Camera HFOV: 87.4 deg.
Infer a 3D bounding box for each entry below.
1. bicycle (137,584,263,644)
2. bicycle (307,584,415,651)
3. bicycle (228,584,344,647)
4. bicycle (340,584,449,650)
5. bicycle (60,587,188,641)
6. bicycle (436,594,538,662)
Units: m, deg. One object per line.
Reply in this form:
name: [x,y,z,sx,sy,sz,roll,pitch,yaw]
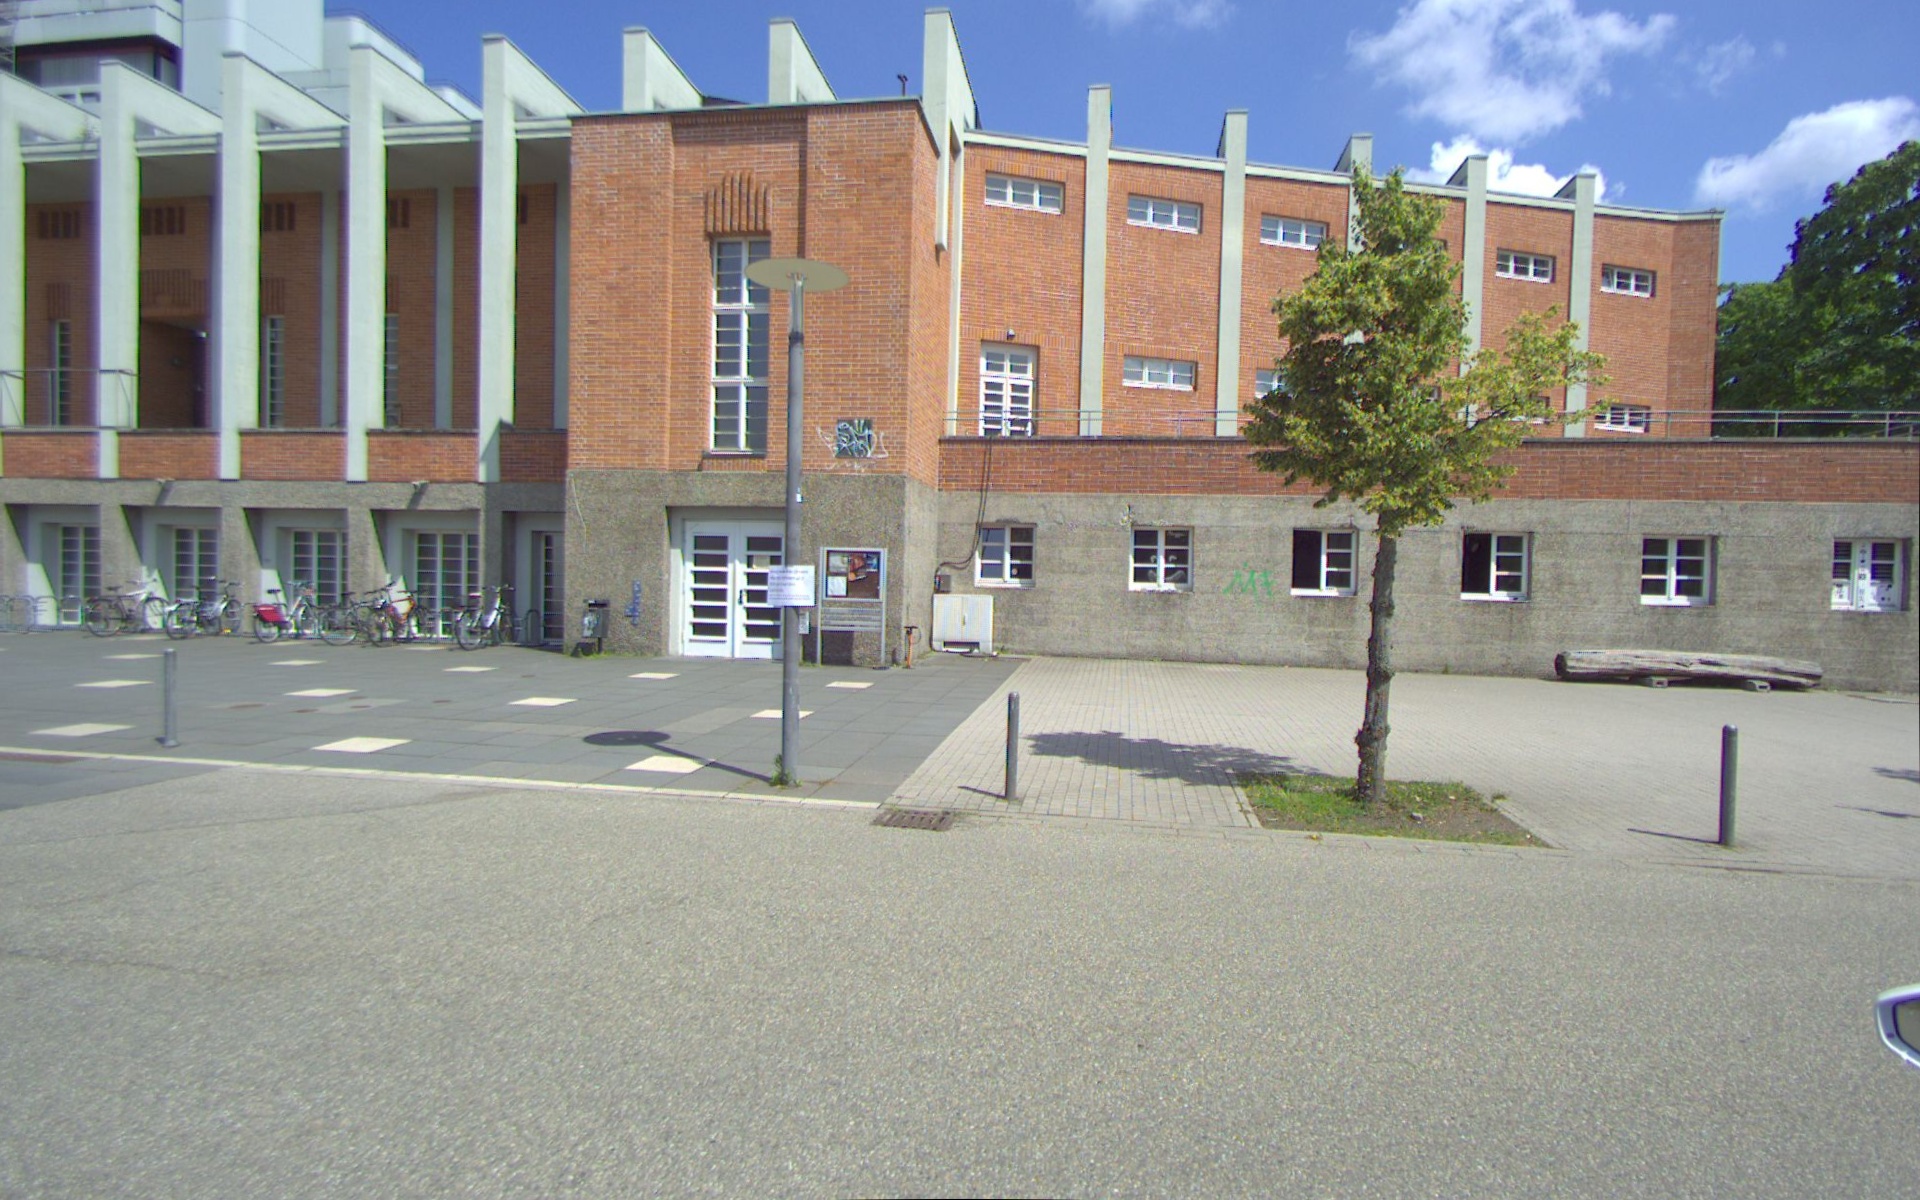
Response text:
bicycle: [-14.325,0.240,19.007,0.650,1.075,2.029,1,1,8]
bicycle: [-11.078,0.287,18.669,0.430,1.141,2.029,1,2,13]
bicycle: [-12.578,0.265,18.824,0.609,1.097,2.017,1,1,8]
bicycle: [-10.342,0.283,18.473,0.580,1.141,2.029,1,1,10]
bicycle: [-16.046,0.249,19.351,0.671,0.973,1.958,1,1,8]
bicycle: [-8.510,0.467,18.174,0.653,1.141,2.029,1,1,8]
